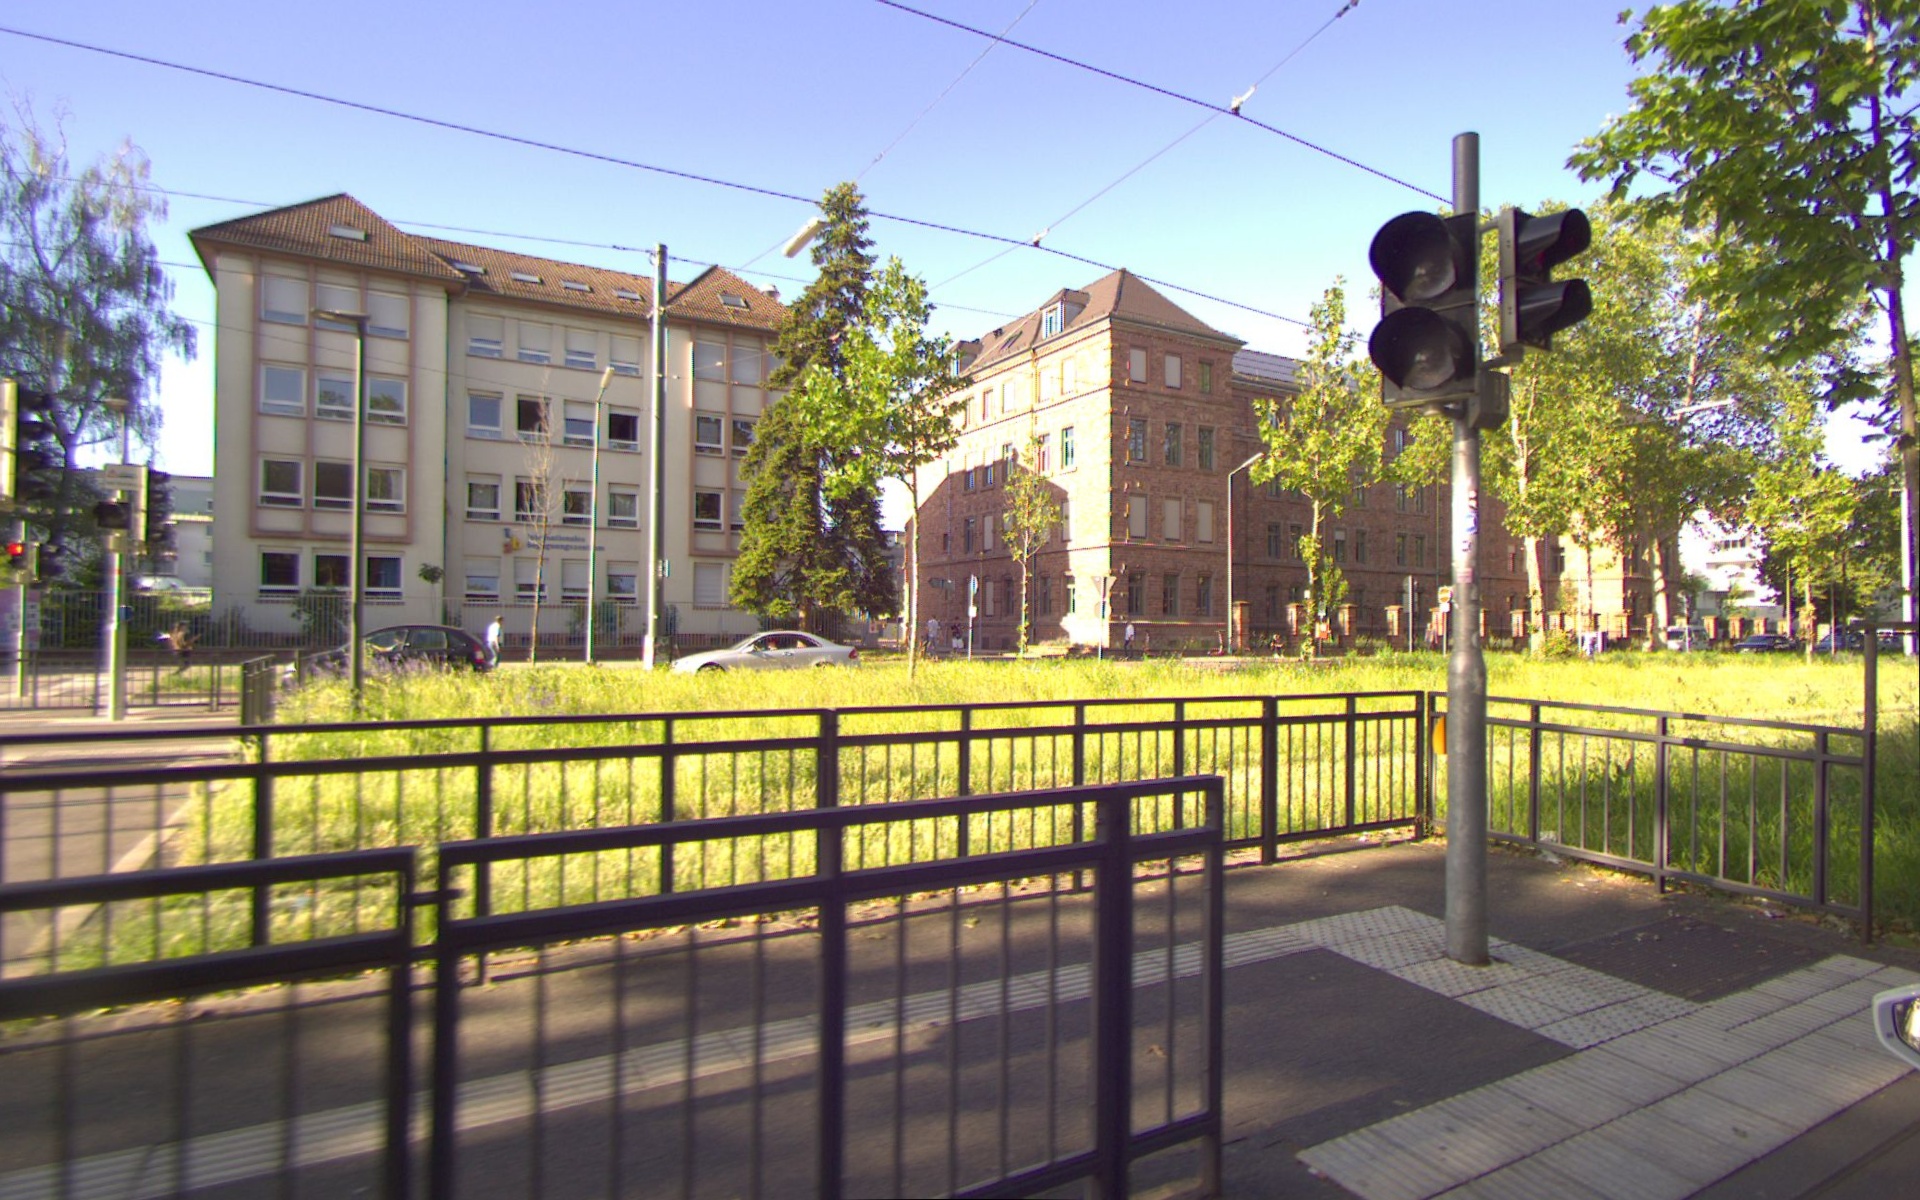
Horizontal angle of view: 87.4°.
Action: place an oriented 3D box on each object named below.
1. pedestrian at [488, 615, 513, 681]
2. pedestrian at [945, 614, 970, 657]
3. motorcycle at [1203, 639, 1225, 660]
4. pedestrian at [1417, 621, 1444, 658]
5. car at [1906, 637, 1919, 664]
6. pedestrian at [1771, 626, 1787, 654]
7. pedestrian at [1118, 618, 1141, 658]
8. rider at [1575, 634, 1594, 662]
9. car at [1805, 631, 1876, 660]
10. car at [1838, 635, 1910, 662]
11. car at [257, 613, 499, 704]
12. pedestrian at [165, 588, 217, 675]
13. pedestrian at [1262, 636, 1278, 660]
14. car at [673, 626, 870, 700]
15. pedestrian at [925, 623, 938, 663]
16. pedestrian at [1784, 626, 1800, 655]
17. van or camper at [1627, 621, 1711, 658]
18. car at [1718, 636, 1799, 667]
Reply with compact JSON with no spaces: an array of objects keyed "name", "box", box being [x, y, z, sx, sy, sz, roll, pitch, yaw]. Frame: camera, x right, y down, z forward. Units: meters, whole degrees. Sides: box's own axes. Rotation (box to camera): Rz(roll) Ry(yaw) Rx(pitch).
[{"name":"pedestrian","box":[-13.182,1.354,28.801,0.566,1.861,0.689,1,-1,-30]},{"name":"pedestrian","box":[-0.101,1.439,41.001,0.672,1.718,0.820,0,-1,41]},{"name":"motorcycle","box":[11.496,2.229,45.434,1.034,0.959,0.332,2,-2,-34]},{"name":"pedestrian","box":[24.488,2.042,52.268,0.930,1.924,0.897,1,-1,-29]},{"name":"car","box":[68.474,3.534,70.344,4.685,1.833,2.098,1,-2,-32]},{"name":"pedestrian","box":[58.994,2.878,72.379,0.618,2.040,0.711,1,-2,-29]},{"name":"pedestrian","box":[7.393,1.657,43.819,0.670,1.718,0.882,0,-1,32]},{"name":"rider","box":[37.637,2.883,60.510,0.678,1.666,0.725,1,-2,-29]},{"name":"car","box":[54.427,2.808,62.110,4.361,1.742,1.763,1,-2,-26]},{"name":"car","box":[59.068,3.109,64.923,4.361,1.636,1.987,1,-2,-26]},{"name":"car","box":[-11.816,1.166,20.737,4.095,1.729,1.987,1,-2,-27]},{"name":"pedestrian","box":[-18.376,0.761,24.017,0.850,2.040,0.659,1,-1,-31]},{"name":"pedestrian","box":[14.773,2.274,47.873,0.581,1.114,0.441,1,-1,-34]},{"name":"car","box":[-4.556,1.481,24.309,4.413,1.644,1.761,1,-1,-24]},{"name":"pedestrian","box":[-1.222,1.844,43.243,0.443,1.718,0.374,1,-1,-23]},{"name":"pedestrian","box":[59.393,2.872,71.682,0.618,2.040,0.711,1,-2,-29]},{"name":"van or camper","box":[36.294,2.031,51.386,4.384,1.811,1.983,2,-2,-32]},{"name":"car","box":[45.271,2.896,56.907,4.769,1.671,1.985,1,-1,-30]}]
